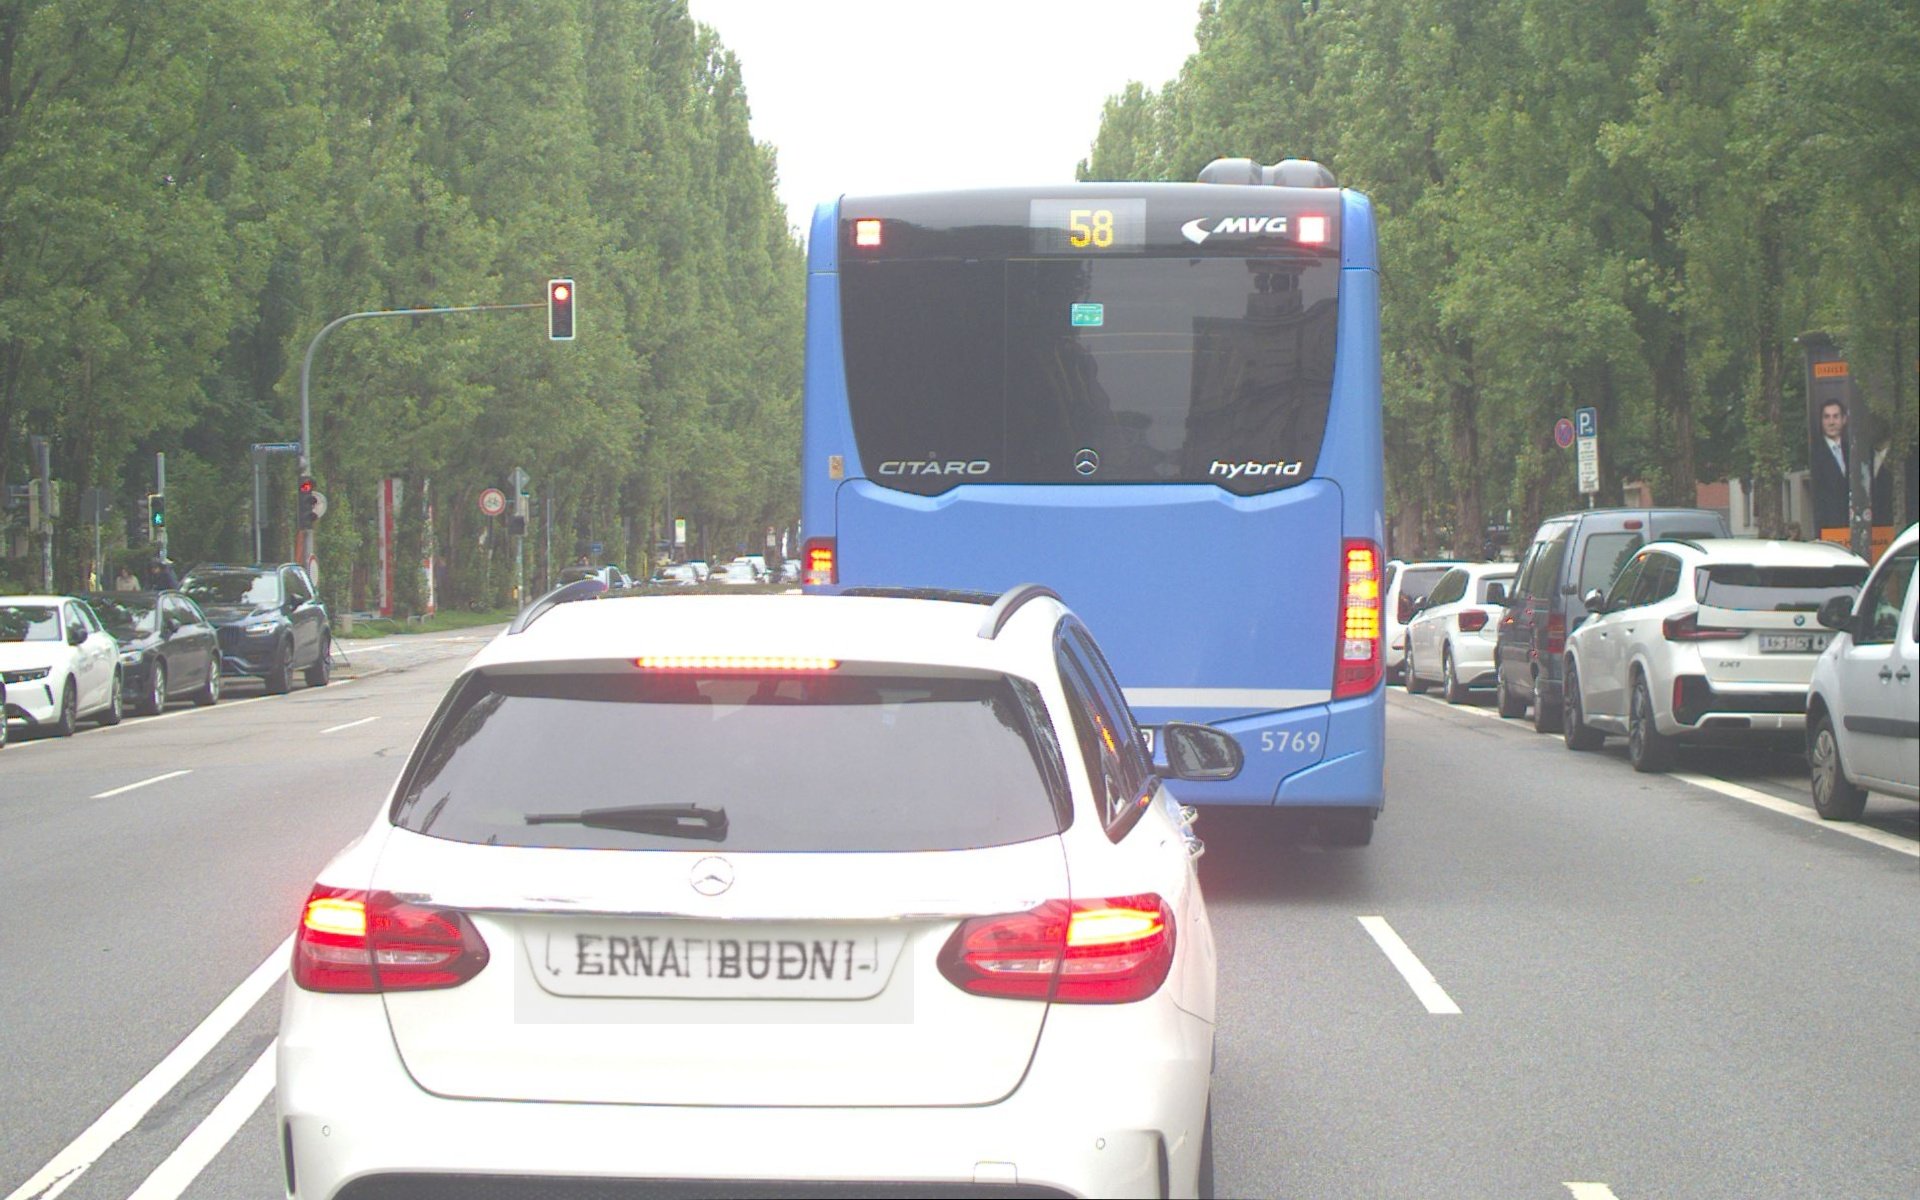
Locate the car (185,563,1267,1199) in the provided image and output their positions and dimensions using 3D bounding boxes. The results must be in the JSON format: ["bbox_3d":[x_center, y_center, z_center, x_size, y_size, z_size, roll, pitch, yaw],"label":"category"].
[{"bbox_3d":[-0.311,0.644,8.080,1.826,1.449,4.582,0,1,2],"label":"car"}]

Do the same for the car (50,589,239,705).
[{"bbox_3d":[-9.727,0.530,41.205,1.289,1.269,3.849,-1,1,1],"label":"car"}]

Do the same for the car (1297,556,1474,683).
[{"bbox_3d":[5.724,0.223,46.676,1.809,1.612,4.000,-1,1,-1],"label":"car"}]

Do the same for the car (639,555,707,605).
[{"bbox_3d":[-8.939,-0.634,107.255,1.821,1.481,4.000,-1,1,0],"label":"car"}]

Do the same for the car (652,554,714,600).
[{"bbox_3d":[-9.375,-0.788,116.615,1.821,1.481,4.000,-1,1,0],"label":"car"}]

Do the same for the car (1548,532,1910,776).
[{"bbox_3d":[5.437,0.324,24.787,1.677,1.590,4.087,1,1,0],"label":"car"}]

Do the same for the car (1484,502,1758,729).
[{"bbox_3d":[5.688,0.090,30.007,1.703,1.829,4.000,1,1,2],"label":"car"}]

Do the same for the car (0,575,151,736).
[{"bbox_3d":[-9.686,0.538,35.578,1.708,1.542,4.000,-1,1,-1],"label":"car"}]

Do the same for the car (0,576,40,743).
[{"bbox_3d":[-9.681,0.574,31.712,1.410,1.546,3.444,-1,1,1],"label":"car"}]

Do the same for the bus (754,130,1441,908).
[{"bbox_3d":[1.047,-0.405,18.804,2.856,3.202,9.058,0,1,6],"label":"bus"}]

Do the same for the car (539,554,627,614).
[{"bbox_3d":[-9.610,-0.433,87.936,1.821,1.481,4.000,-1,1,0],"label":"car"}]

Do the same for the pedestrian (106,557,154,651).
[{"bbox_3d":[-17.979,0.075,74.469,0.830,2.007,0.778,-1,1,-2],"label":"pedestrian"}]

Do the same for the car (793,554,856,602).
[{"bbox_3d":[-4.633,-0.761,118.029,1.993,1.614,4.000,-1,1,0],"label":"car"}]

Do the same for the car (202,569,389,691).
[{"bbox_3d":[-8.988,0.376,46.773,1.707,1.546,4.000,-1,1,1],"label":"car"}]

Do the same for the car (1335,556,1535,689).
[{"bbox_3d":[5.682,0.232,41.513,1.785,1.486,4.000,-1,1,-1],"label":"car"}]

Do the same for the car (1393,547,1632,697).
[{"bbox_3d":[5.776,0.191,36.368,1.798,1.470,4.000,-1,1,-1],"label":"car"}]

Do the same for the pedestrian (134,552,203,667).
[{"bbox_3d":[-12.323,0.134,53.556,0.821,1.758,1.081,-1,1,-2],"label":"pedestrian"}]

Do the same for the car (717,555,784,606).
[{"bbox_3d":[-6.404,-0.615,105.452,1.821,1.481,4.000,-1,1,0],"label":"car"}]

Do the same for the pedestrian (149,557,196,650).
[{"bbox_3d":[-17.097,0.069,74.658,0.830,2.007,0.778,-1,1,-2],"label":"pedestrian"}]

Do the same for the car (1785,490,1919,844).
[{"bbox_3d":[5.717,0.346,17.652,1.833,1.767,4.230,1,1,-1],"label":"car"}]
